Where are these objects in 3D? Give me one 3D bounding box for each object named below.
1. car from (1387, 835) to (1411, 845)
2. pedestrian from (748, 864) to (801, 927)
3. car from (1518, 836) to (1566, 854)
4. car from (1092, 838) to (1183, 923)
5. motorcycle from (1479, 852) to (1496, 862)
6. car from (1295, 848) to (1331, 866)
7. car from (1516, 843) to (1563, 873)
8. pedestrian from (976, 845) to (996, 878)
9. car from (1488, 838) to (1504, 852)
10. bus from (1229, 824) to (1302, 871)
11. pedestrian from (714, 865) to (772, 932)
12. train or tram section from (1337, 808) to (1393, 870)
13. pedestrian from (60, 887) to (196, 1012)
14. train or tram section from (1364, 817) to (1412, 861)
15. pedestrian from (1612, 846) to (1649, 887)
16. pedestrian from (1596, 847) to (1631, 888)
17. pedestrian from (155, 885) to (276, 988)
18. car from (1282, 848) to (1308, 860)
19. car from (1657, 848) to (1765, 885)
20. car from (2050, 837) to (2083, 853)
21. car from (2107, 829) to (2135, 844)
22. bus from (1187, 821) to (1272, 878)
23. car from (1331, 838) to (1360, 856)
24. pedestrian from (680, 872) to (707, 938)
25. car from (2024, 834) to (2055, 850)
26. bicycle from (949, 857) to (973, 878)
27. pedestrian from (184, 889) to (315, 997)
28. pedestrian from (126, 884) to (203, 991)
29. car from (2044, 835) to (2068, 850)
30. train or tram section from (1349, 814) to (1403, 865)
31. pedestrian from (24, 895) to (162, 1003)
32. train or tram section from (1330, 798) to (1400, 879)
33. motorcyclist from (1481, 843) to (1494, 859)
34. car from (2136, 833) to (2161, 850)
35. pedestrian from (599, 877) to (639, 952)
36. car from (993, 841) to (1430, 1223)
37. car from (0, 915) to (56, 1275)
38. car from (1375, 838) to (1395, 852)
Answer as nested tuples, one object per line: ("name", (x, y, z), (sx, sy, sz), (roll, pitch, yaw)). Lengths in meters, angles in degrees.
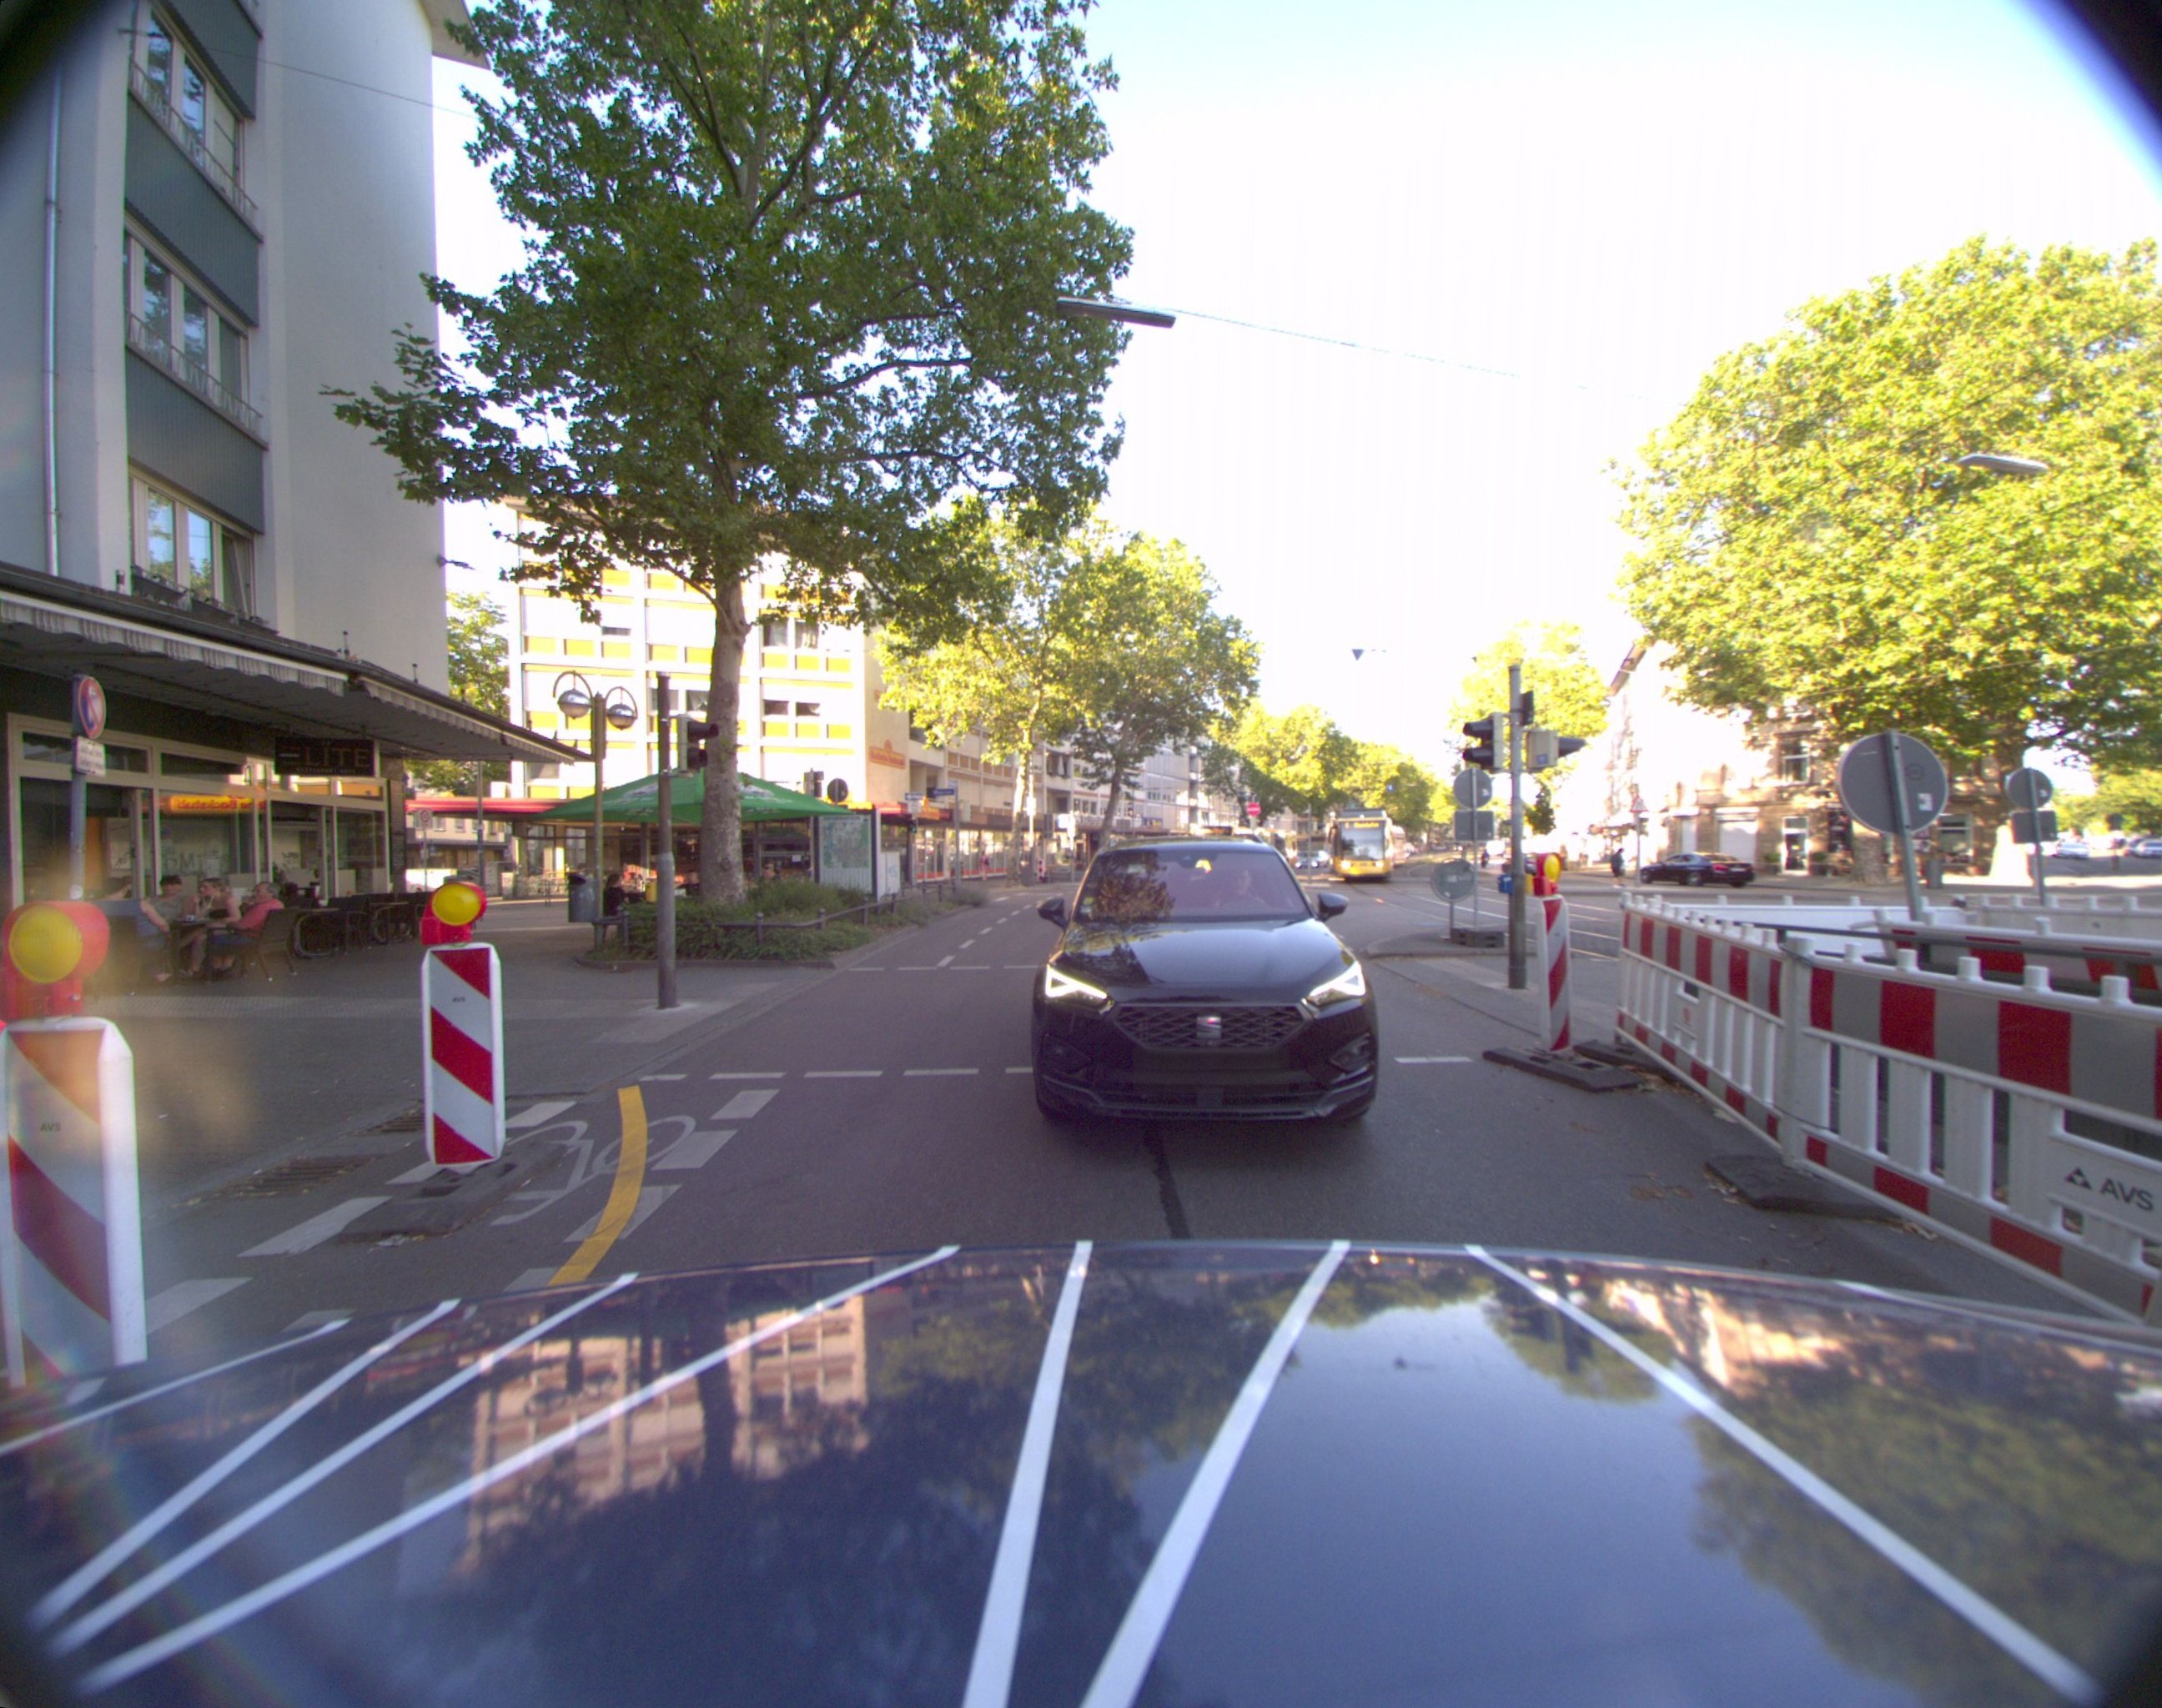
("car", (64.350, -2.806, 153.868), (4.000, 2.002, 1.879), (-1, 1, -8))
("pedestrian", (-6.523, 0.875, 16.202), (0.718, 1.278, 0.769), (-1, 1, 13))
("car", (52.636, -1.005, 86.797), (4.651, 1.965, 1.901), (-1, 1, -11))
("car", (1.334, 0.503, 17.209), (1.743, 1.630, 4.300), (-2, 0, 6))
("motorcycle", (33.278, 0.227, 62.251), (0.681, 0.804, 1.996), (-1, 1, 12))
("car", (20.453, 0.241, 66.989), (1.907, 1.467, 4.426), (0, 2, 32))
("car", (26.717, 0.231, 44.382), (1.949, 1.645, 4.698), (-1, 0, 26))
("pedestrian", (-5.245, 0.407, 41.885), (0.748, 1.747, 0.903), (-1, 1, 17))
("car", (63.881, -1.374, 116.915), (2.162, 2.110, 4.987), (1, 1, 29))
("bus", (13.452, -0.463, 54.691), (2.748, 3.085, 9.513), (0, 1, 28))
("pedestrian", (-6.791, 0.880, 15.278), (0.718, 1.278, 0.769), (-1, 1, 14))
("train or tram section", (17.962, -0.910, 47.665), (2.838, 3.467, 10.354), (-1, 1, 23))
("pedestrian", (-10.202, 0.991, 8.167), (0.651, 1.244, 0.716), (0, 0, -24))
("train or tram section", (26.953, -1.290, 66.353), (2.837, 3.467, 10.356), (-1, 1, 28))
("pedestrian", (20.629, 0.471, 28.530), (0.798, 1.500, 0.800), (-1, 1, -23))
("pedestrian", (19.795, 0.501, 28.254), (0.799, 1.500, 0.800), (-1, 1, -28))
("pedestrian", (-10.675, 0.993, 9.398), (0.666, 1.211, 0.717), (0, 0, -5))
("car", (23.950, -0.010, 85.033), (2.629, 1.210, 1.200), (-1, 2, -6))
("car", (26.470, 0.513, 32.123), (1.996, 1.440, 4.544), (-1, 0, 18))
("car", (91.060, -0.833, 70.220), (4.007, 1.485, 1.723), (-1, 1, -36))
("car", (109.024, -1.816, 79.633), (4.007, 1.485, 1.723), (-1, 1, -36))
("bus", (9.244, -0.317, 46.208), (2.748, 3.085, 9.512), (0, 1, 25))
("car", (27.235, -0.737, 78.116), (1.951, 1.768, 4.007), (0, 2, 32))
("pedestrian", (-7.393, 0.955, 14.501), (0.433, 1.212, 0.467), (0, 1, -29))
("car", (94.889, -1.178, 75.192), (4.007, 1.485, 1.723), (-1, 1, -36))
("bicycle", (-6.646, 0.728, 42.051), (0.528, 1.136, 1.976), (-1, 1, 15))
("pedestrian", (-9.829, 1.025, 9.017), (0.847, 1.191, 0.649), (0, 0, -22))
("pedestrian", (-11.225, 0.995, 9.310), (0.519, 1.236, 0.553), (0, 0, 34))
("car", (135.500, -1.557, 105.589), (4.007, 2.004, 1.846), (-1, 1, -36))
("train or tram section", (22.322, -1.073, 57.117), (2.873, 3.467, 10.355), (-1, 1, 26))
("pedestrian", (-11.069, 1.036, 8.542), (0.718, 1.123, 0.649), (0, 0, -24))
("train or tram section", (14.159, -0.741, 38.007), (2.819, 3.467, 10.352), (-1, 1, 20))
("motorcyclist", (33.264, -0.225, 62.231), (0.681, 1.308, 0.985), (-1, 2, 12))
("car", (98.404, -1.129, 69.784), (4.007, 1.485, 1.723), (-1, 1, -36))
("pedestrian", (-7.763, 1.008, 12.766), (0.469, 1.212, 0.431), (-2, 1, -44))
("car", (0.711, 0.781, 5.474), (1.848, 1.648, 4.300), (-2, 0, 4))
("car", (-5.166, 0.990, 1.441), (1.623, 1.457, 3.604), (1, 0, -2))
("car", (38.450, -1.155, 96.133), (1.952, 1.768, 4.006), (0, 2, 27))
